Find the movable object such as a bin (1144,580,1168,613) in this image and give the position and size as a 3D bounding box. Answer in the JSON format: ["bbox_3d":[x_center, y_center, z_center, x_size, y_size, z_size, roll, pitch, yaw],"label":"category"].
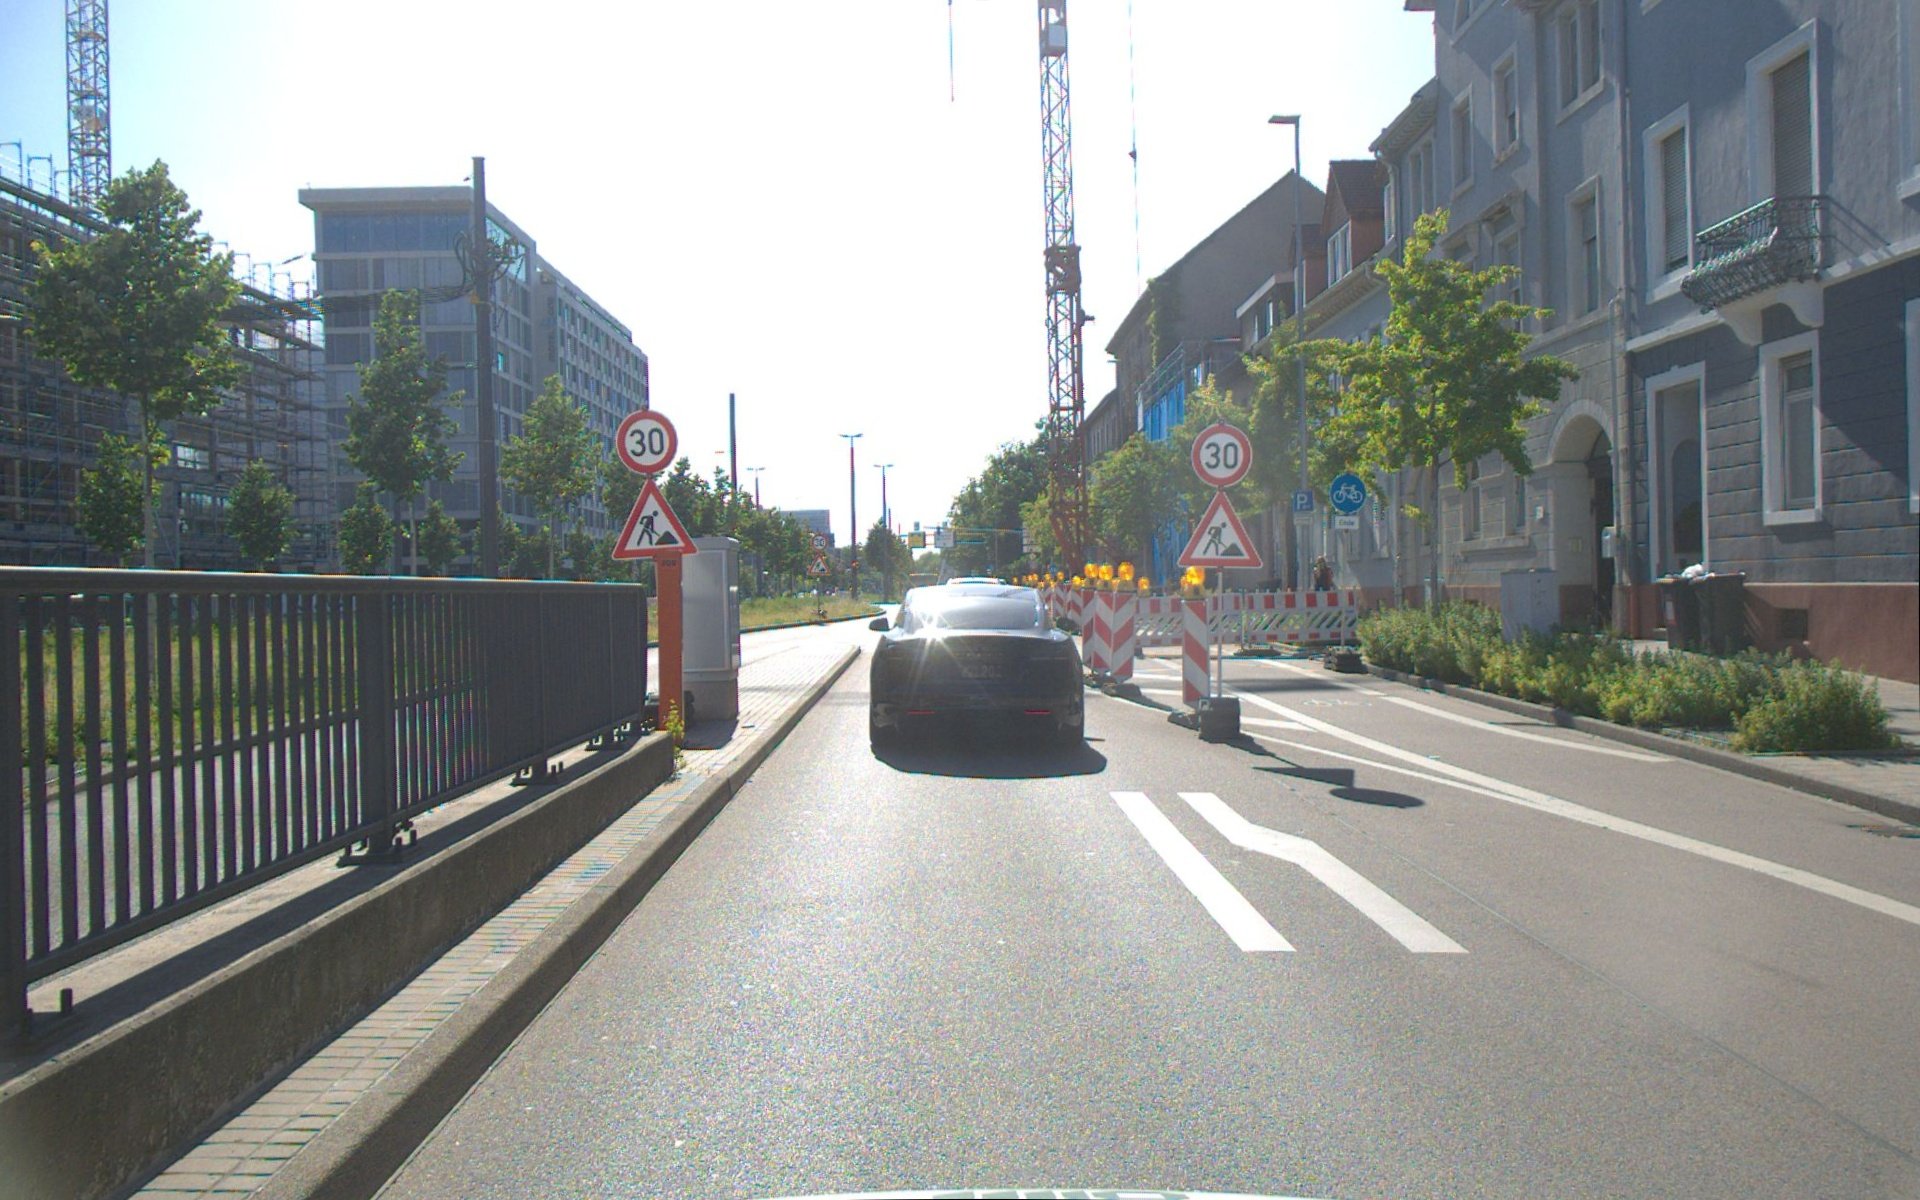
[{"bbox_3d":[6.764,-0.124,57.129,0.576,1.076,0.783,-6,1,-5],"label":"movable object such as a bin"}]

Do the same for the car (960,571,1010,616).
[{"bbox_3d":[0.850,-0.234,58.981,1.714,1.554,4.005,0,0,0],"label":"car"}]

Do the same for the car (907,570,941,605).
[{"bbox_3d":[-2.427,-0.842,110.189,2.173,2.307,4.483,0,1,-2],"label":"car"}]

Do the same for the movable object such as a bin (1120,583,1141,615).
[{"bbox_3d":[5.887,-0.035,57.199,0.583,1.076,0.730,-5,0,0],"label":"movable object such as a bin"}]

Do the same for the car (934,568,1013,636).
[{"bbox_3d":[0.256,0.023,38.585,1.712,1.452,4.837,-1,1,-1],"label":"car"}]

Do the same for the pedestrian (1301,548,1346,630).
[{"bbox_3d":[8.814,-0.263,40.156,0.781,1.962,0.766,-1,0,-19],"label":"pedestrian"}]

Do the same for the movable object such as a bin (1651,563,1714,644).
[{"bbox_3d":[10.230,0.047,23.439,0.576,1.127,0.704,-1,1,0],"label":"movable object such as a bin"}]

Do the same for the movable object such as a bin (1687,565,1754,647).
[{"bbox_3d":[10.395,0.074,22.625,0.590,1.101,0.704,-1,1,0],"label":"movable object such as a bin"}]

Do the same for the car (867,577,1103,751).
[{"bbox_3d":[0.178,0.521,16.297,2.009,1.469,4.523,0,1,-1],"label":"car"}]

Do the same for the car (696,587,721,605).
[{"bbox_3d":[-24.677,-0.392,162.244,1.754,1.680,4.000,-2,0,0],"label":"car"}]
